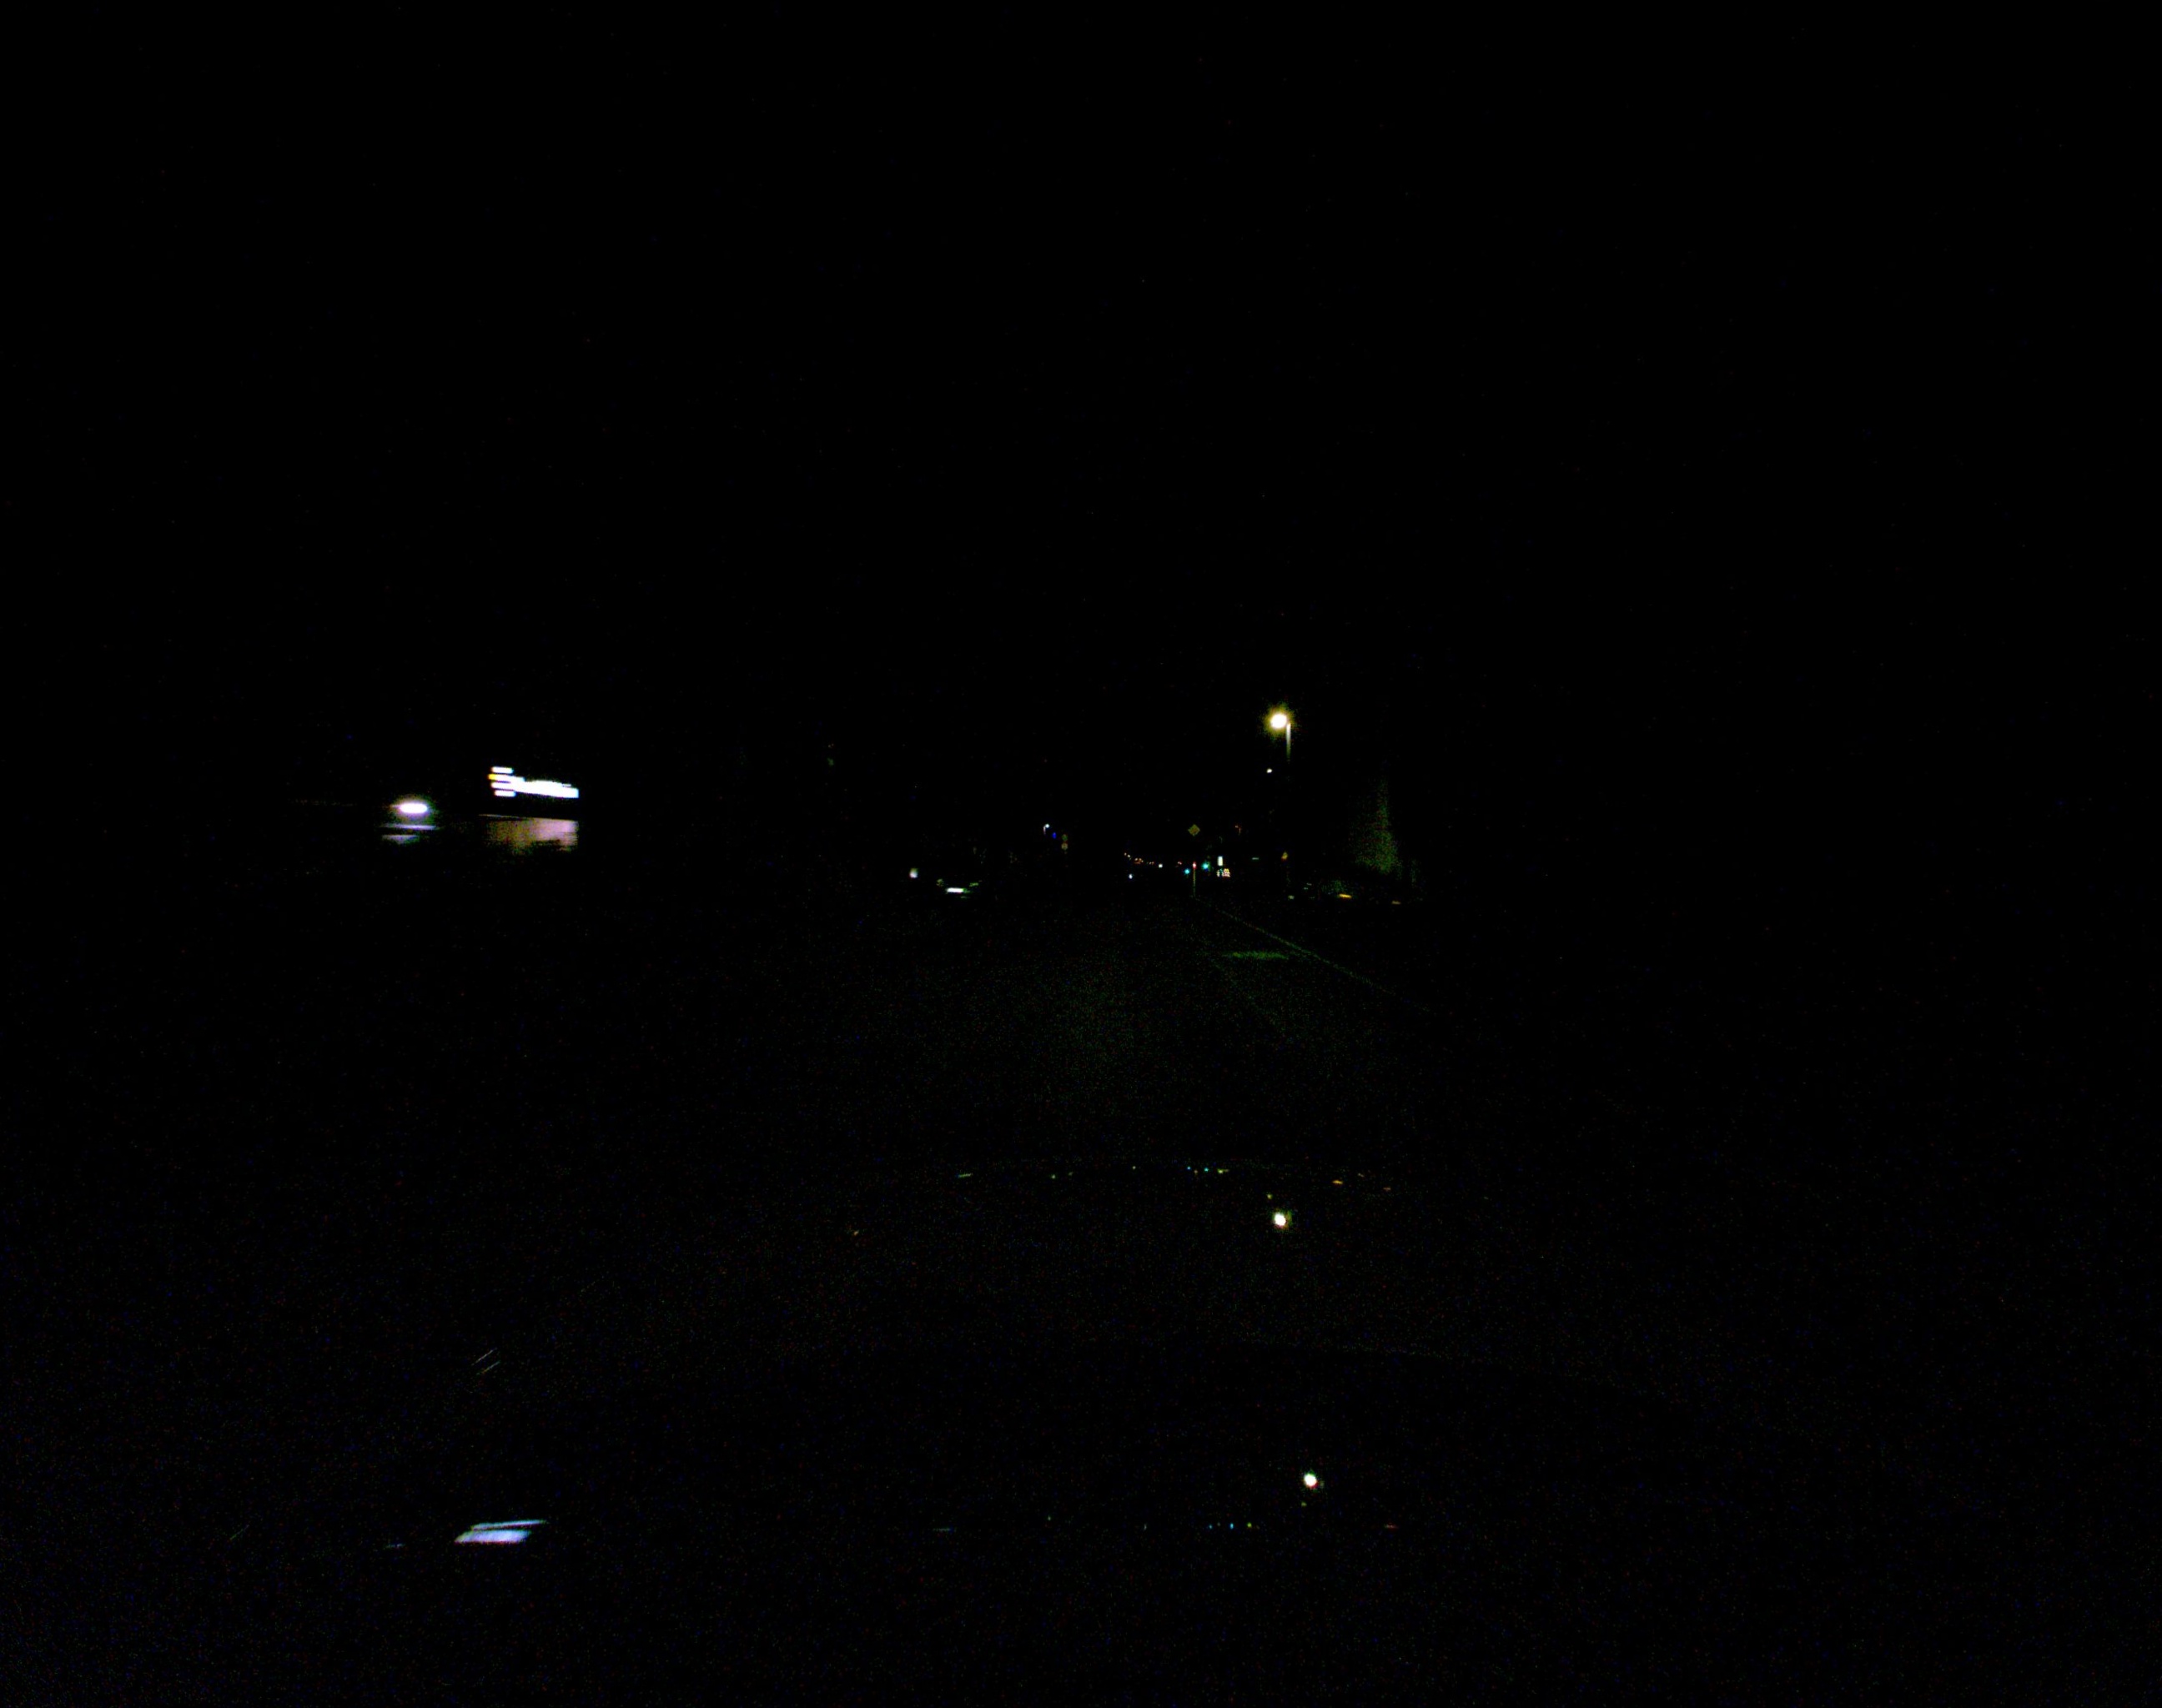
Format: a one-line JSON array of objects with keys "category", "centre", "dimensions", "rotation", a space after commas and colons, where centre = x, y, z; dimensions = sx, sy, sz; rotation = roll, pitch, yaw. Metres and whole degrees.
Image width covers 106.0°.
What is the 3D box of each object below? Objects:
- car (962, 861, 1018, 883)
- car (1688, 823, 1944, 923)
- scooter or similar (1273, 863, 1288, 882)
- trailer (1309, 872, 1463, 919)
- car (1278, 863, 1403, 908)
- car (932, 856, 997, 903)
[{"category": "car", "centre": [-6.701, 1.322, 59.986], "dimensions": [3.681, 1.627, 1.792], "rotation": [-1, -1, 21]}, {"category": "car", "centre": [16.656, 0.385, 18.845], "dimensions": [1.986, 2.013, 4.508], "rotation": [1, 0, 2]}, {"category": "scooter or similar", "centre": [13.542, 1.243, 55.193], "dimensions": [0.609, 1.281, 1.690], "rotation": [1, -1, 1]}, {"category": "trailer", "centre": [8.109, 1.080, 21.902], "dimensions": [3.419, 1.002, 1.955], "rotation": [3, 0, 2]}, {"category": "car", "centre": [8.115, 0.969, 25.636], "dimensions": [3.380, 1.232, 1.724], "rotation": [2, 0, 0]}, {"category": "car", "centre": [-4.154, 0.873, 29.676], "dimensions": [1.666, 1.591, 3.988], "rotation": [1, 0, 2]}]
